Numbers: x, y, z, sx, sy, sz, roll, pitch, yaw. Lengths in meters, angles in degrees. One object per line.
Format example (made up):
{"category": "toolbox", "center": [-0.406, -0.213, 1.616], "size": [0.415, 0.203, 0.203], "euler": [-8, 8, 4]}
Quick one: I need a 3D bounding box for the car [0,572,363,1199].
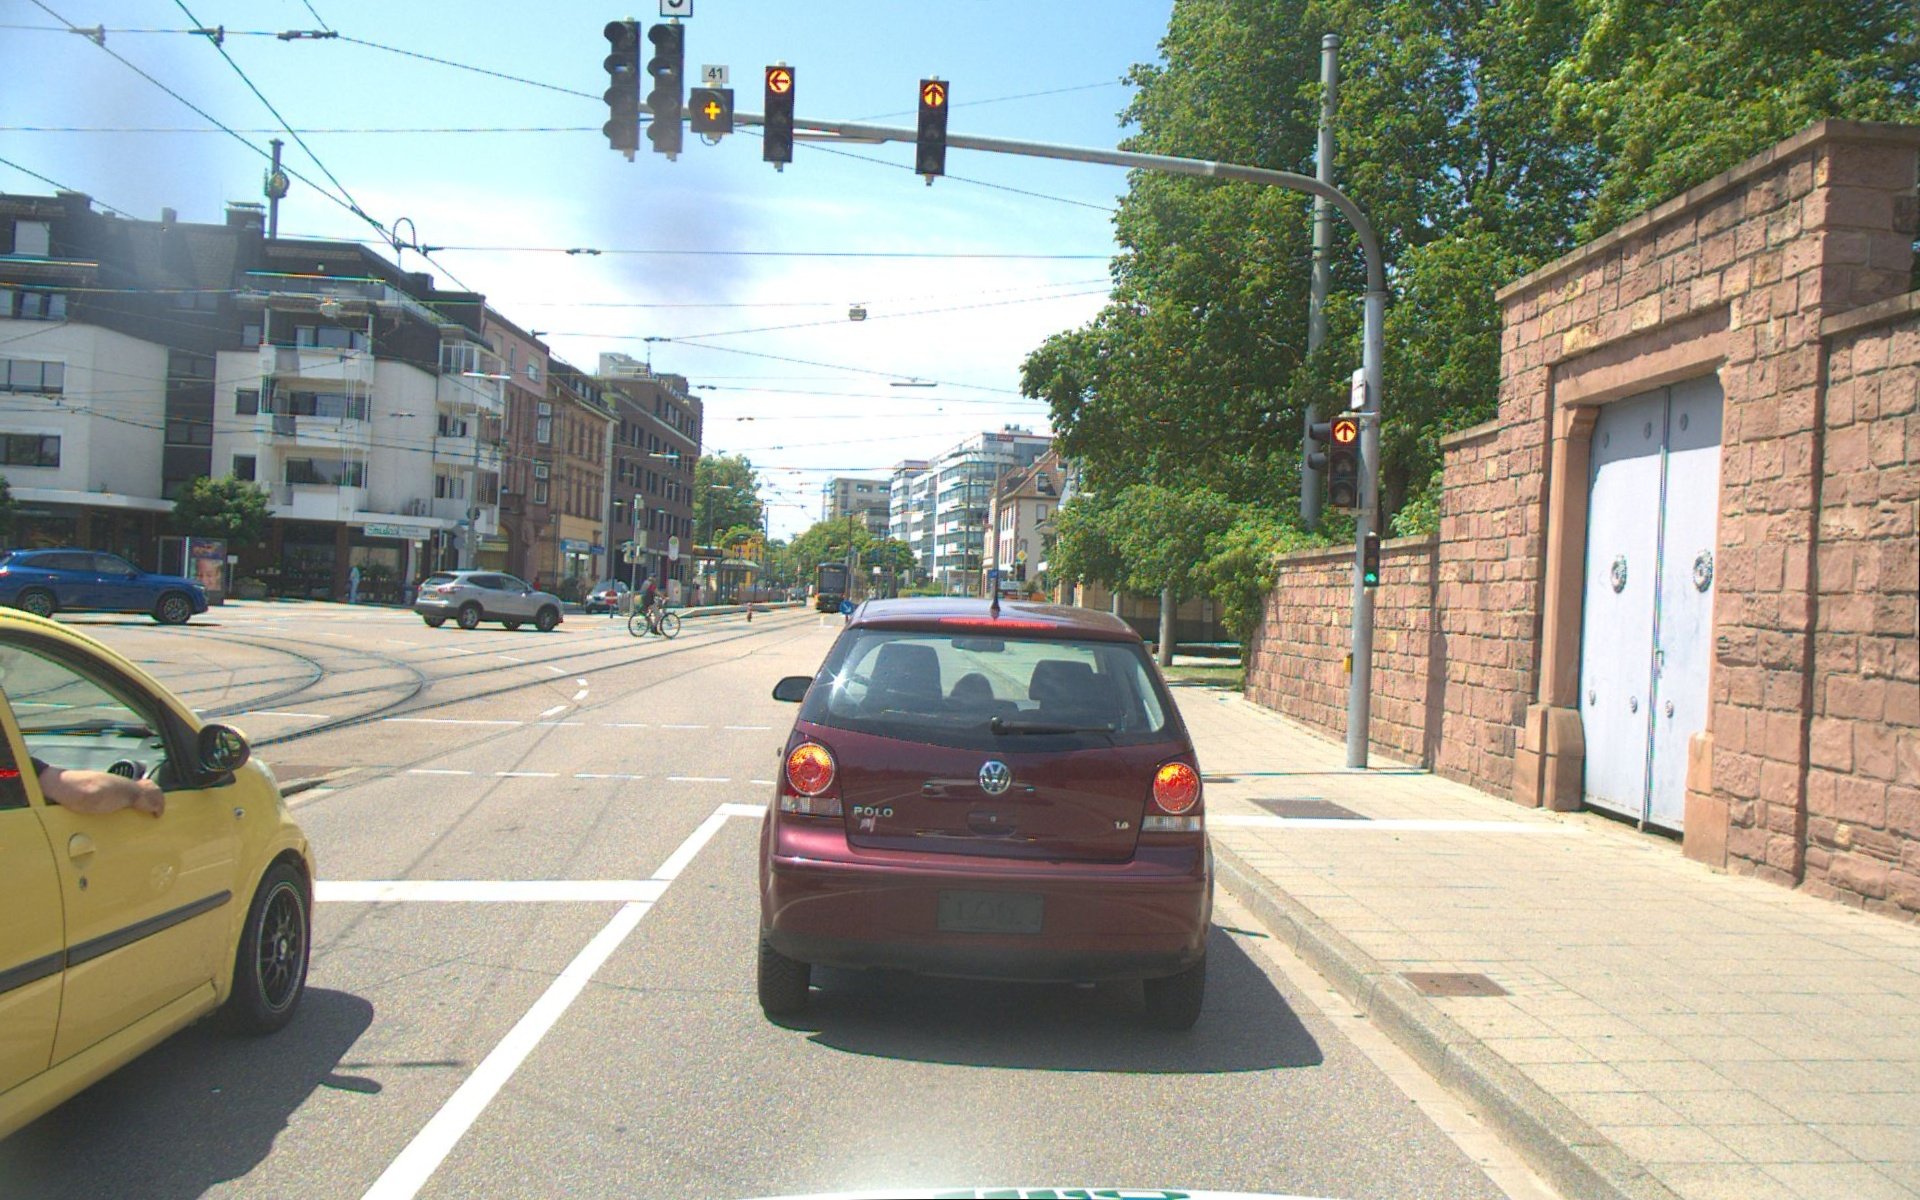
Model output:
{"category": "car", "center": [-2.933, 0.660, 4.220], "size": [1.688, 1.470, 3.292], "euler": [0, 1, -2]}

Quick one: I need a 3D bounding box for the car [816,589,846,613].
{"category": "car", "center": [-9.031, 0.088, 116.222], "size": [1.899, 1.670, 3.998], "euler": [1, -1, -2]}

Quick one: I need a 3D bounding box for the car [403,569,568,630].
{"category": "car", "center": [-13.305, 0.015, 46.577], "size": [1.902, 1.612, 4.132], "euler": [0, -1, 38]}

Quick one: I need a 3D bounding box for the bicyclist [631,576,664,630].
{"category": "bicyclist", "center": [-8.860, 0.091, 46.904], "size": [0.473, 1.527, 0.748], "euler": [0, -1, 40]}

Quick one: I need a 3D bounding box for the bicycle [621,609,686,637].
{"category": "bicycle", "center": [-8.712, 0.660, 47.059], "size": [0.458, 0.797, 1.976], "euler": [0, -1, 40]}

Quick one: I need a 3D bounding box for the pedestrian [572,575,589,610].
{"category": "pedestrian", "center": [-19.850, -0.400, 86.601], "size": [0.648, 1.818, 0.815], "euler": [2, 0, -1]}

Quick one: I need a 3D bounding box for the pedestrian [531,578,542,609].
{"category": "pedestrian", "center": [-21.460, -0.309, 83.803], "size": [0.474, 1.568, 0.537], "euler": [1, -1, -8]}

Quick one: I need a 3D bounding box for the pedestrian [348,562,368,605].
{"category": "pedestrian", "center": [-24.932, -0.675, 68.463], "size": [0.497, 1.785, 0.606], "euler": [0, -1, 45]}

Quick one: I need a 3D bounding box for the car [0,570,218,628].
{"category": "car", "center": [-20.137, -0.007, 38.799], "size": [4.726, 1.258, 1.917], "euler": [1, -1, -34]}

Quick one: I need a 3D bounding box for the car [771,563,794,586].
{"category": "car", "center": [-16.394, -2.358, 153.151], "size": [1.700, 2.049, 3.999], "euler": [2, 0, -1]}

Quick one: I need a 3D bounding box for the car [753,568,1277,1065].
{"category": "car", "center": [0.103, 0.670, 7.184], "size": [1.578, 1.489, 4.083], "euler": [2, 0, -2]}

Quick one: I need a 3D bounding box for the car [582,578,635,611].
{"category": "car", "center": [-17.111, -0.256, 80.682], "size": [1.654, 1.488, 4.000], "euler": [2, 0, 0]}
